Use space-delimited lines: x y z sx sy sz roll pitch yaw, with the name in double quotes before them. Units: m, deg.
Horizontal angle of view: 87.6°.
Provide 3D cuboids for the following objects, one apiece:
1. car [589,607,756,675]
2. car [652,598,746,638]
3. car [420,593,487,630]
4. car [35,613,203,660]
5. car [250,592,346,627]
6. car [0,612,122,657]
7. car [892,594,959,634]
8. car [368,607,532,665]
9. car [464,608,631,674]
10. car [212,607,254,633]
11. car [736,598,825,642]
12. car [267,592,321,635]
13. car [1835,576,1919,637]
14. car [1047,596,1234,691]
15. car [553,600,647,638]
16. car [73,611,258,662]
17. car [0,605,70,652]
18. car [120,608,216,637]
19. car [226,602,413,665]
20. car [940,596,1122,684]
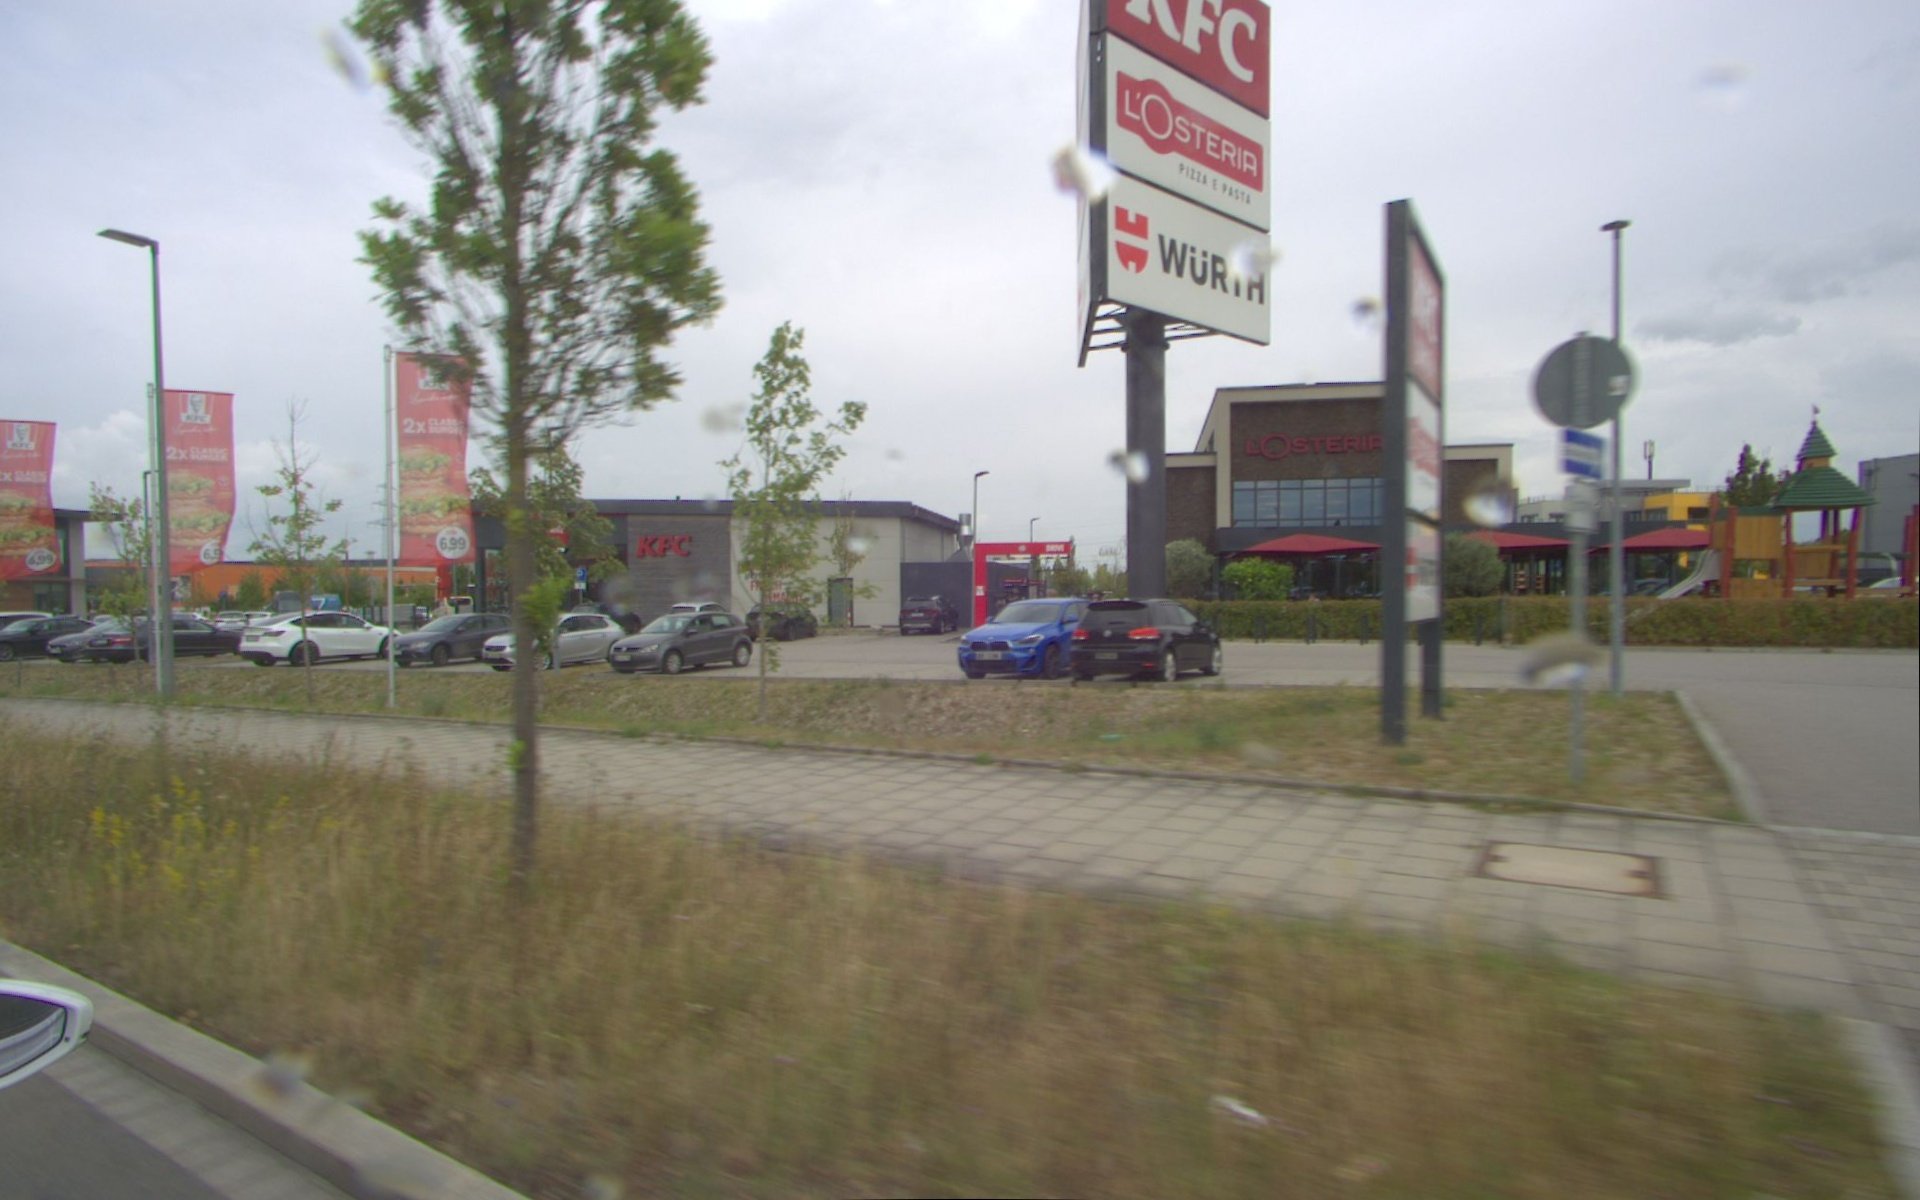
"car" -6.965 0.945 24.633 1.861 1.514 3.754 -1 0 29
"car" -11.140 0.742 43.040 2.042 1.539 4.571 -1 1 12
"car" -34.201 0.730 67.519 2.510 2.382 5.636 -1 1 -43
"car" -29.042 1.215 34.765 1.907 1.457 4.091 0 1 15
"car" -50.506 0.681 76.547 5.961 2.562 2.269 -1 1 -31
"car" -33.627 1.222 36.404 2.035 1.456 4.477 0 0 14
"car" -1.363 0.548 41.873 1.861 1.539 4.572 -1 1 10
"car" -15.065 1.021 29.802 1.909 1.504 3.985 -1 0 25
"car" -11.044 1.048 27.054 1.872 1.501 3.858 -1 1 27
"car" -43.253 1.170 59.534 1.932 1.462 4.187 -1 0 -37
"car" -7.025 0.742 39.661 1.940 1.539 4.572 -1 1 10
"car" -41.613 0.805 62.458 2.254 2.535 7.270 -1 1 -38
"car" 27.762 0.167 28.305 4.243 1.651 1.985 0 0 3
"car" 3.382 0.700 18.212 1.954 1.513 3.977 0 0 33
"car" -16.096 0.818 45.024 2.009 1.539 4.374 -1 1 10
"car" -26.402 1.168 33.491 1.995 1.488 4.524 0 0 17
"car" -36.021 1.062 37.042 1.901 1.661 4.358 0 0 11
"car" -50.611 1.420 64.064 4.679 1.678 1.983 -1 0 -40
"car" -19.837 0.993 31.273 2.053 1.667 4.563 -1 2 21
"car" 1.544 0.715 20.100 1.937 1.540 4.255 -1 0 31
